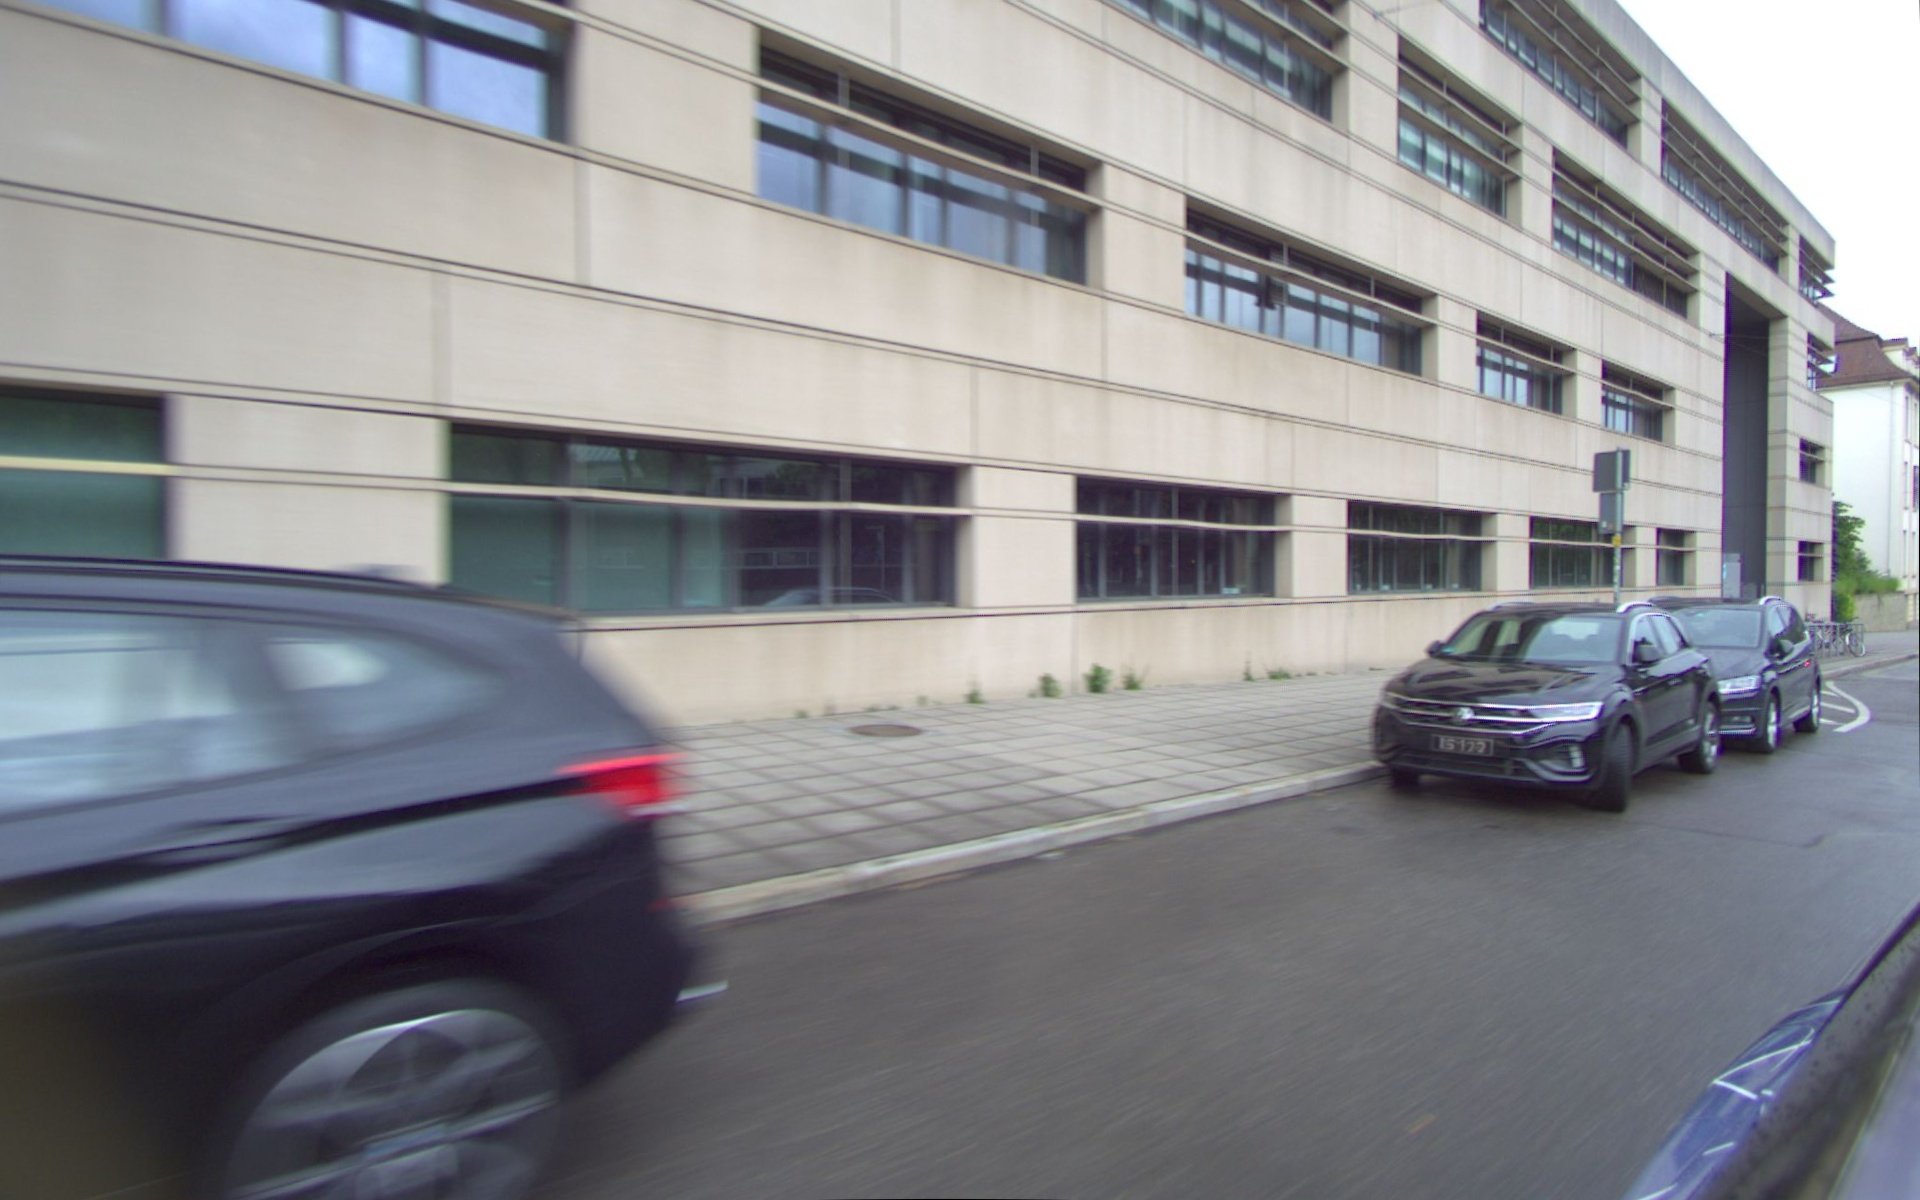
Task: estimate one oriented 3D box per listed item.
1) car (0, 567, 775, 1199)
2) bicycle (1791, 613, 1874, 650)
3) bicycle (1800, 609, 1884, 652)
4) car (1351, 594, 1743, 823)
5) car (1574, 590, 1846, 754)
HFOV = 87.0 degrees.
[{"bbox_3d":[-2.657,0.722,1.996,4.245,1.553,1.745,0,0,-42],"label":"car"},{"bbox_3d":[25.334,0.898,29.407,0.648,0.965,1.761,0,1,-42],"label":"bicycle"},{"bbox_3d":[24.825,0.840,28.508,0.649,1.133,1.730,0,1,-45],"label":"bicycle"},{"bbox_3d":[5.256,0.747,8.850,3.987,1.531,1.728,-1,-1,-41],"label":"car"},{"bbox_3d":[9.059,0.705,12.087,4.318,1.624,1.773,0,0,-42],"label":"car"}]
